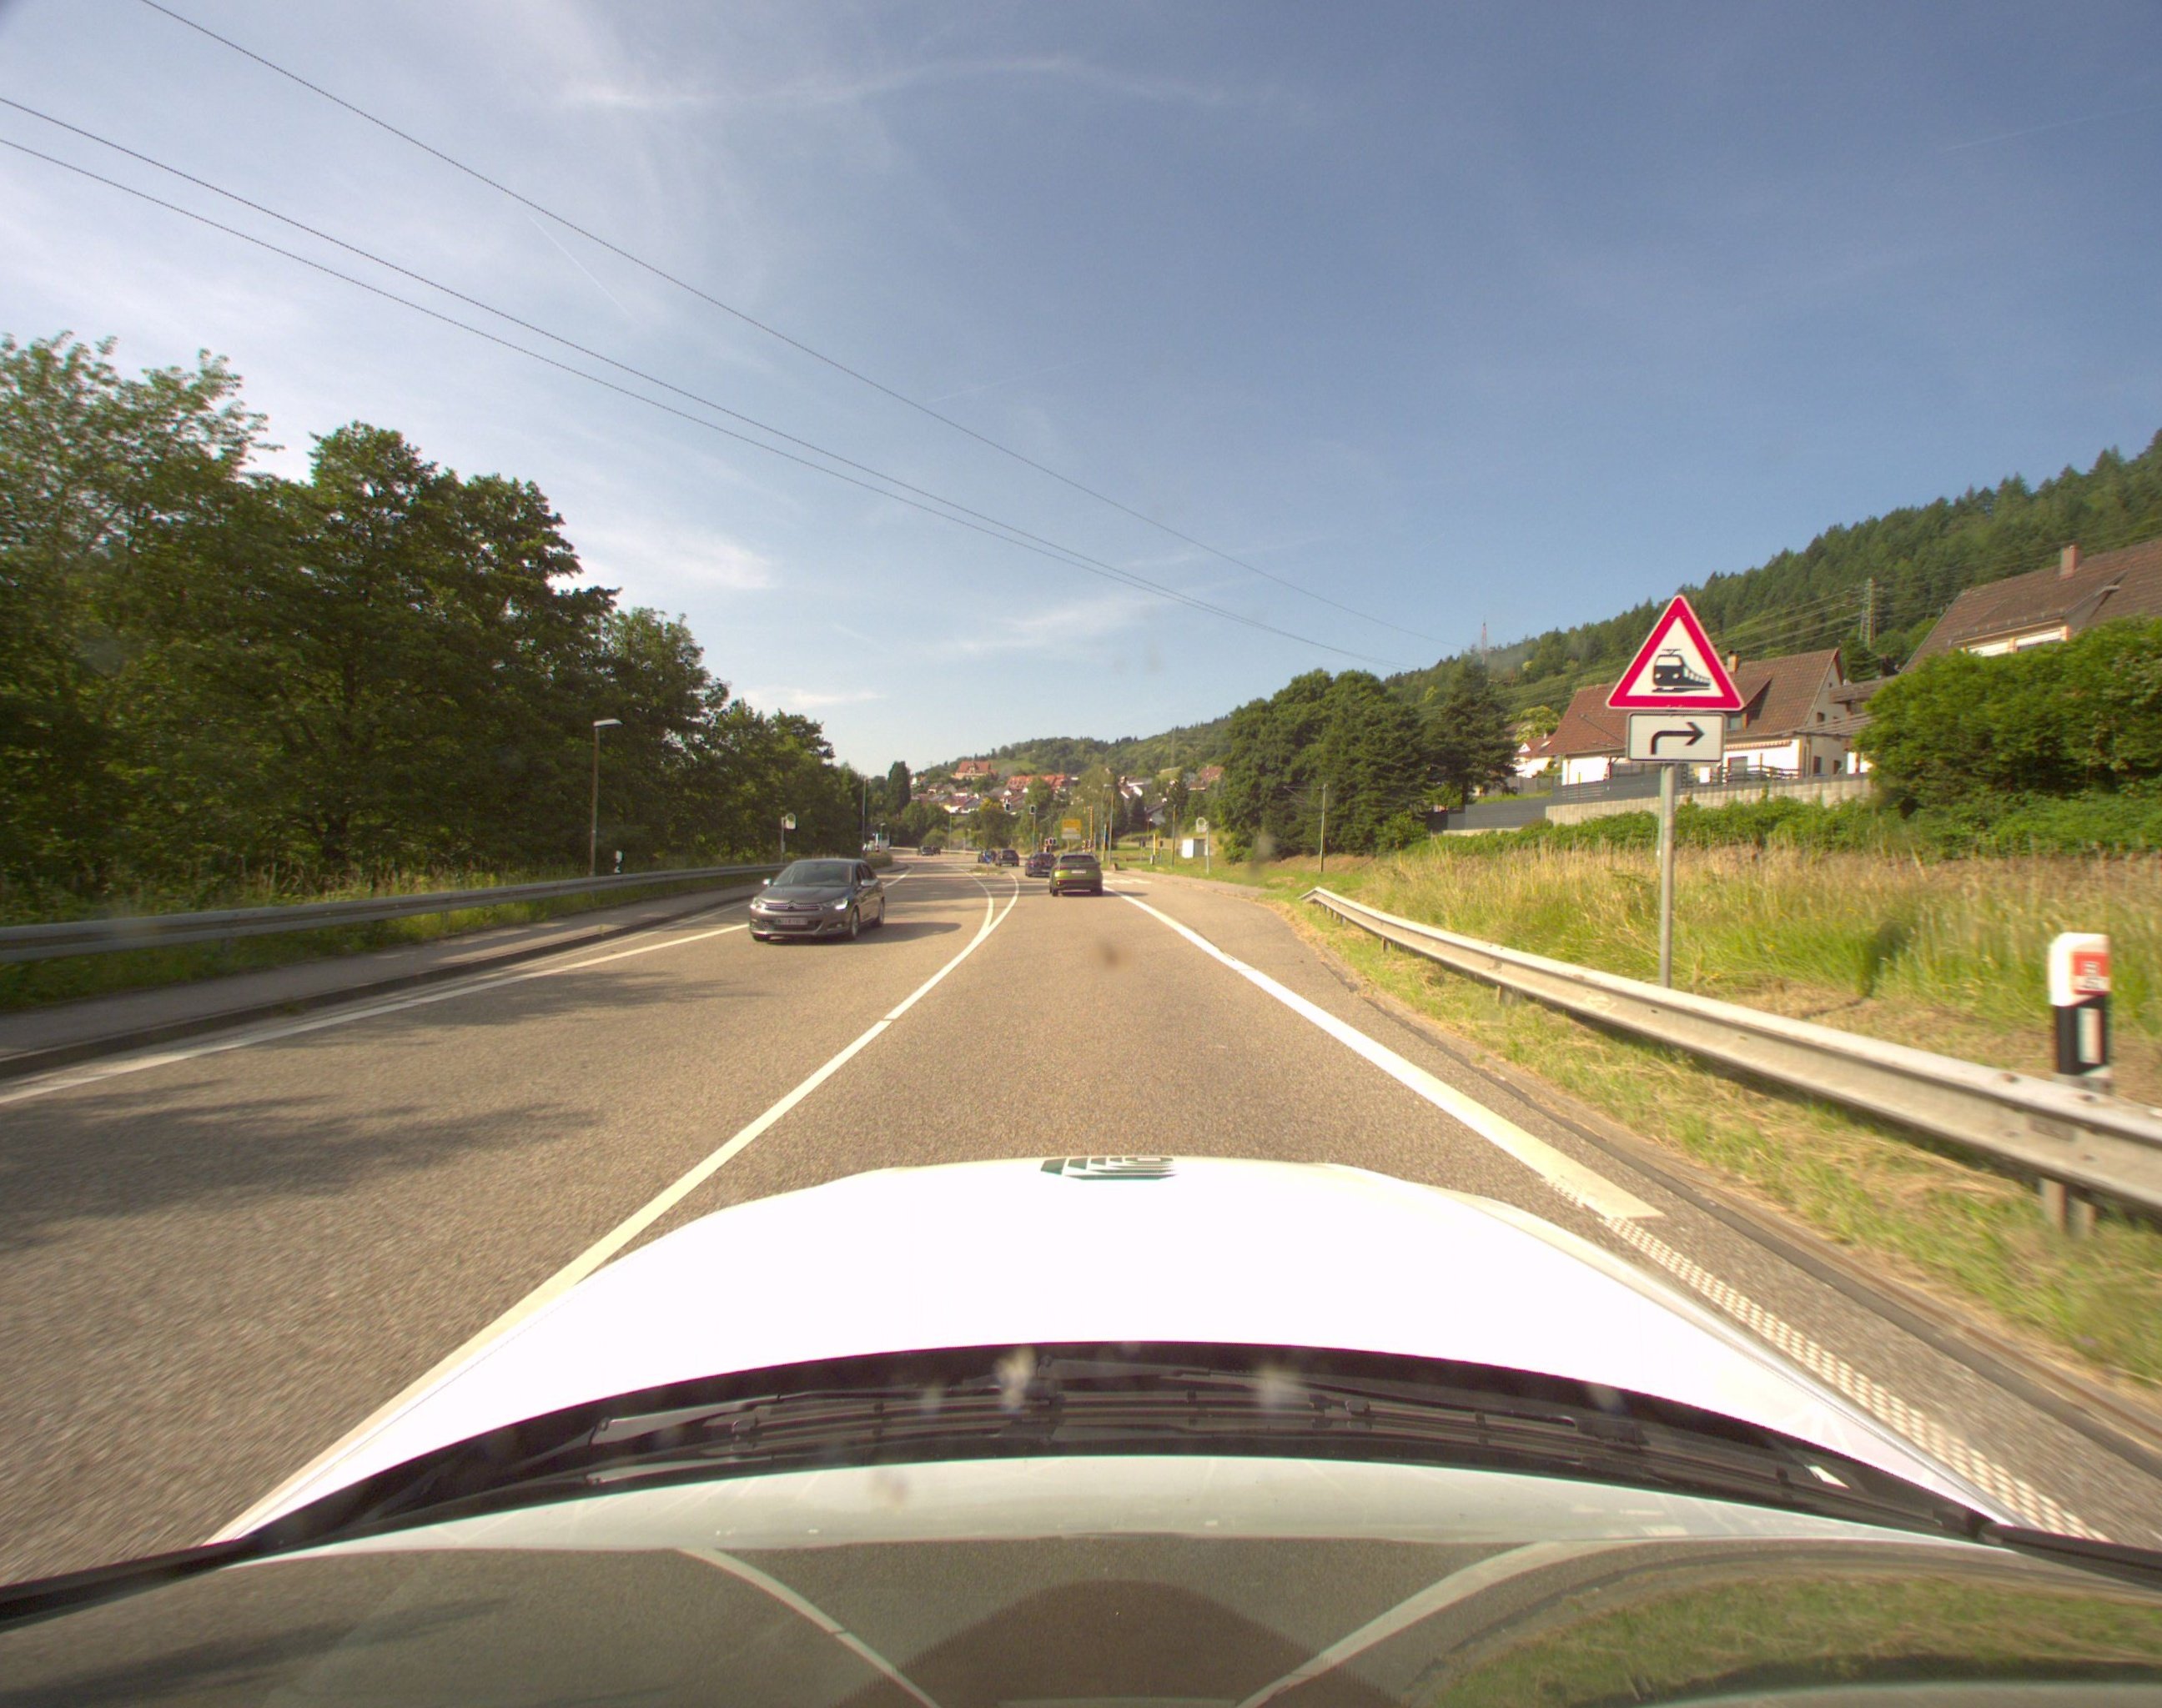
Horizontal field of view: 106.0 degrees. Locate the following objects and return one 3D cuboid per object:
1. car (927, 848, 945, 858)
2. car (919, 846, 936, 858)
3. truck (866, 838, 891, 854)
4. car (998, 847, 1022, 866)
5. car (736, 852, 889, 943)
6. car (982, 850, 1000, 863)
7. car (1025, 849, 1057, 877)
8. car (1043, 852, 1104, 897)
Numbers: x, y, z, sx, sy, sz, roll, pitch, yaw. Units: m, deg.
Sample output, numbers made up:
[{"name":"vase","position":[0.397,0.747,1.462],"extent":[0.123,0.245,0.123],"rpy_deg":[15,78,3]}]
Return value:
[{"name":"car","position":[-25.472,-0.173,142.799],"extent":[2.005,1.745,3.963],"rpy_deg":[1,0,-29]},{"name":"car","position":[-25.154,-0.369,133.501],"extent":[2.070,1.811,3.973],"rpy_deg":[0,1,-21]},{"name":"truck","position":[-39.894,-1.579,160.411],"extent":[2.732,3.084,6.042],"rpy_deg":[2,-1,-36]},{"name":"car","position":[-6.641,0.232,75.726],"extent":[1.880,1.686,3.987],"rpy_deg":[0,0,-9]},{"name":"car","position":[-5.004,0.739,15.749],"extent":[1.888,1.488,3.993],"rpy_deg":[-1,0,-5]},{"name":"car","position":[-10.264,0.260,92.917],"extent":[1.849,1.527,3.650],"rpy_deg":[0,0,-10]},{"name":"car","position":[-2.353,0.494,47.349],"extent":[1.665,1.559,3.991],"rpy_deg":[0,0,-6]},{"name":"car","position":[-0.339,0.658,28.811],"extent":[1.713,1.455,3.990],"rpy_deg":[0,0,-7]}]
